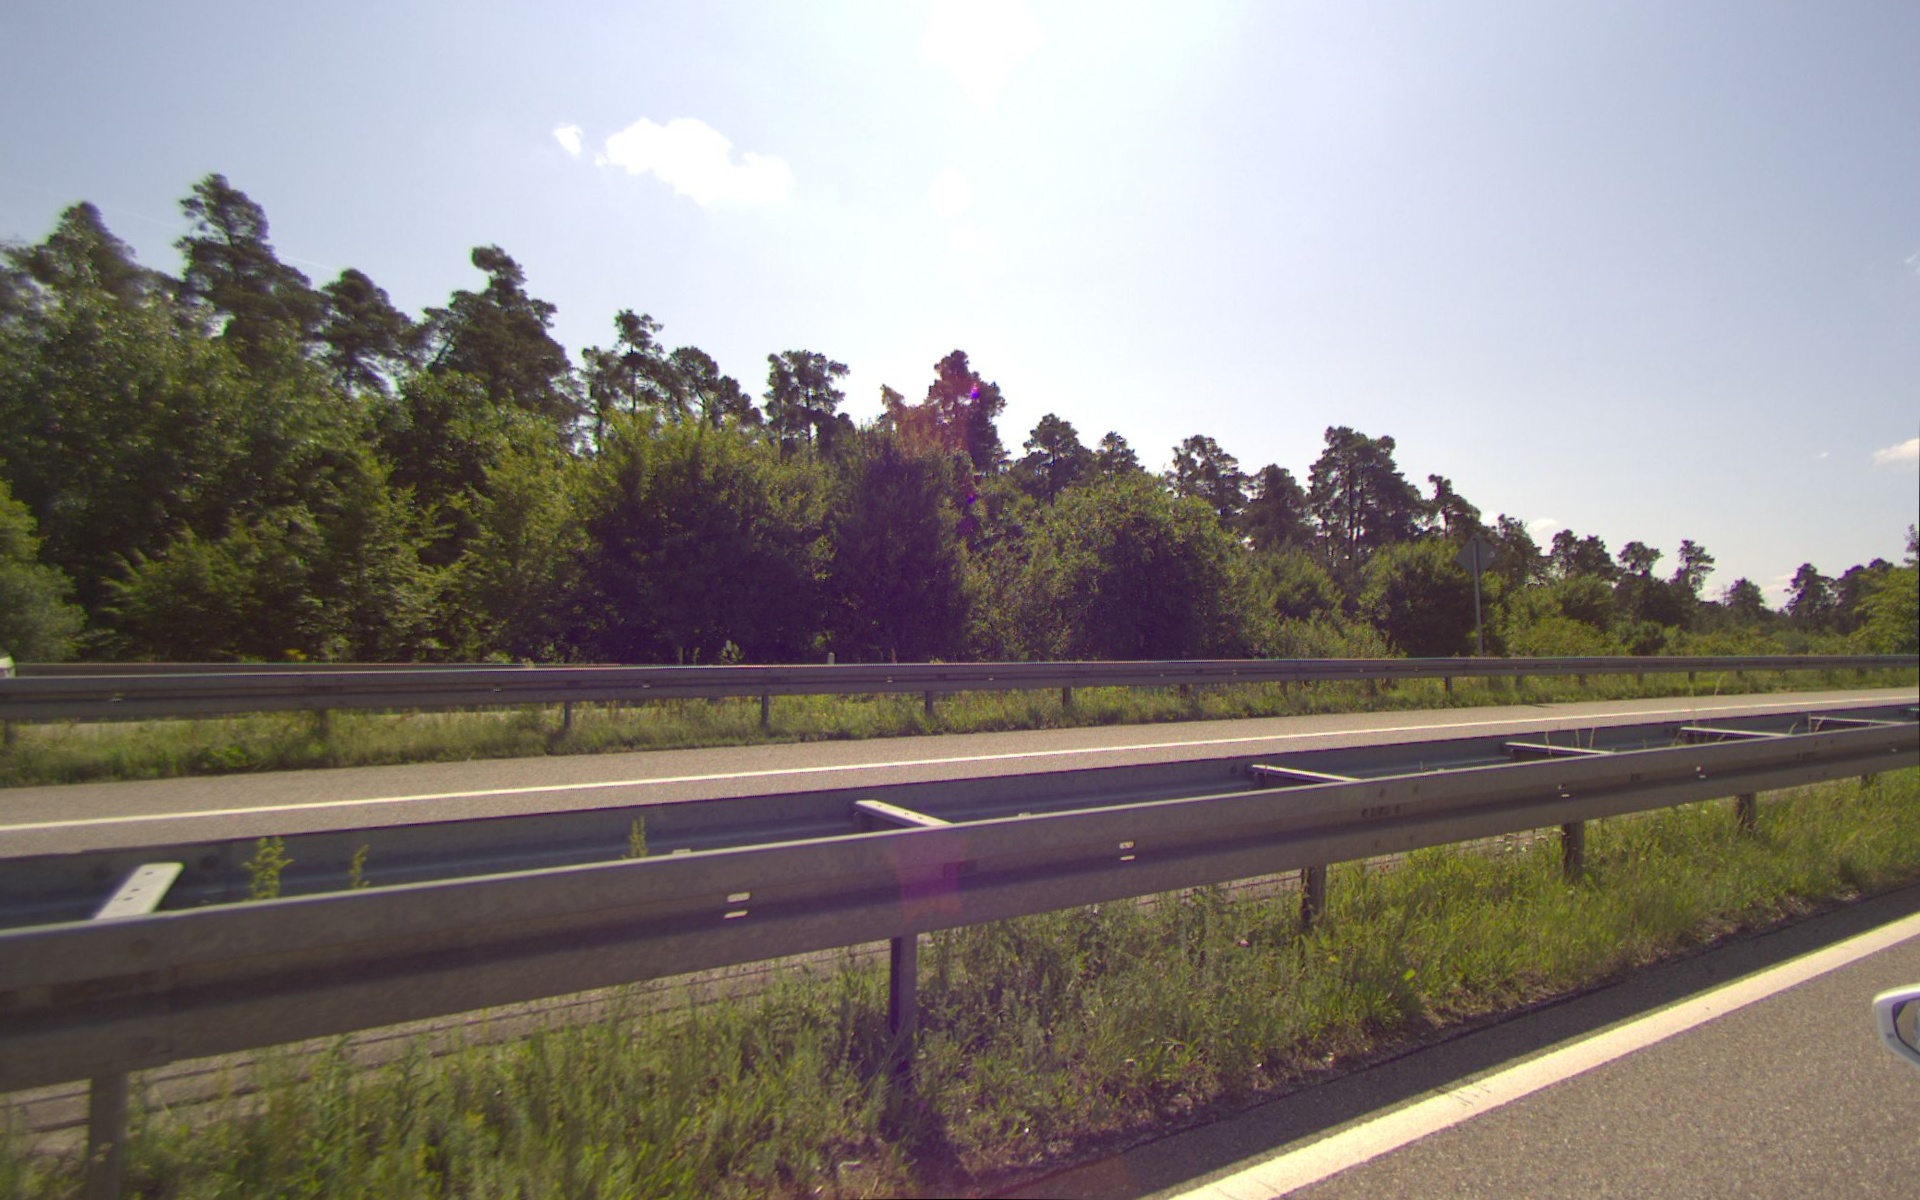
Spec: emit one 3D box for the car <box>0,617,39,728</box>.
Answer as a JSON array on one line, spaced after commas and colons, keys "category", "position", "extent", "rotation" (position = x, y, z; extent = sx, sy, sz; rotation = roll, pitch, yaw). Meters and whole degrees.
[{"category": "car", "position": [-14.819, 0.909, 12.507], "extent": [4.793, 1.432, 1.932], "rotation": [2, -1, -40]}]
